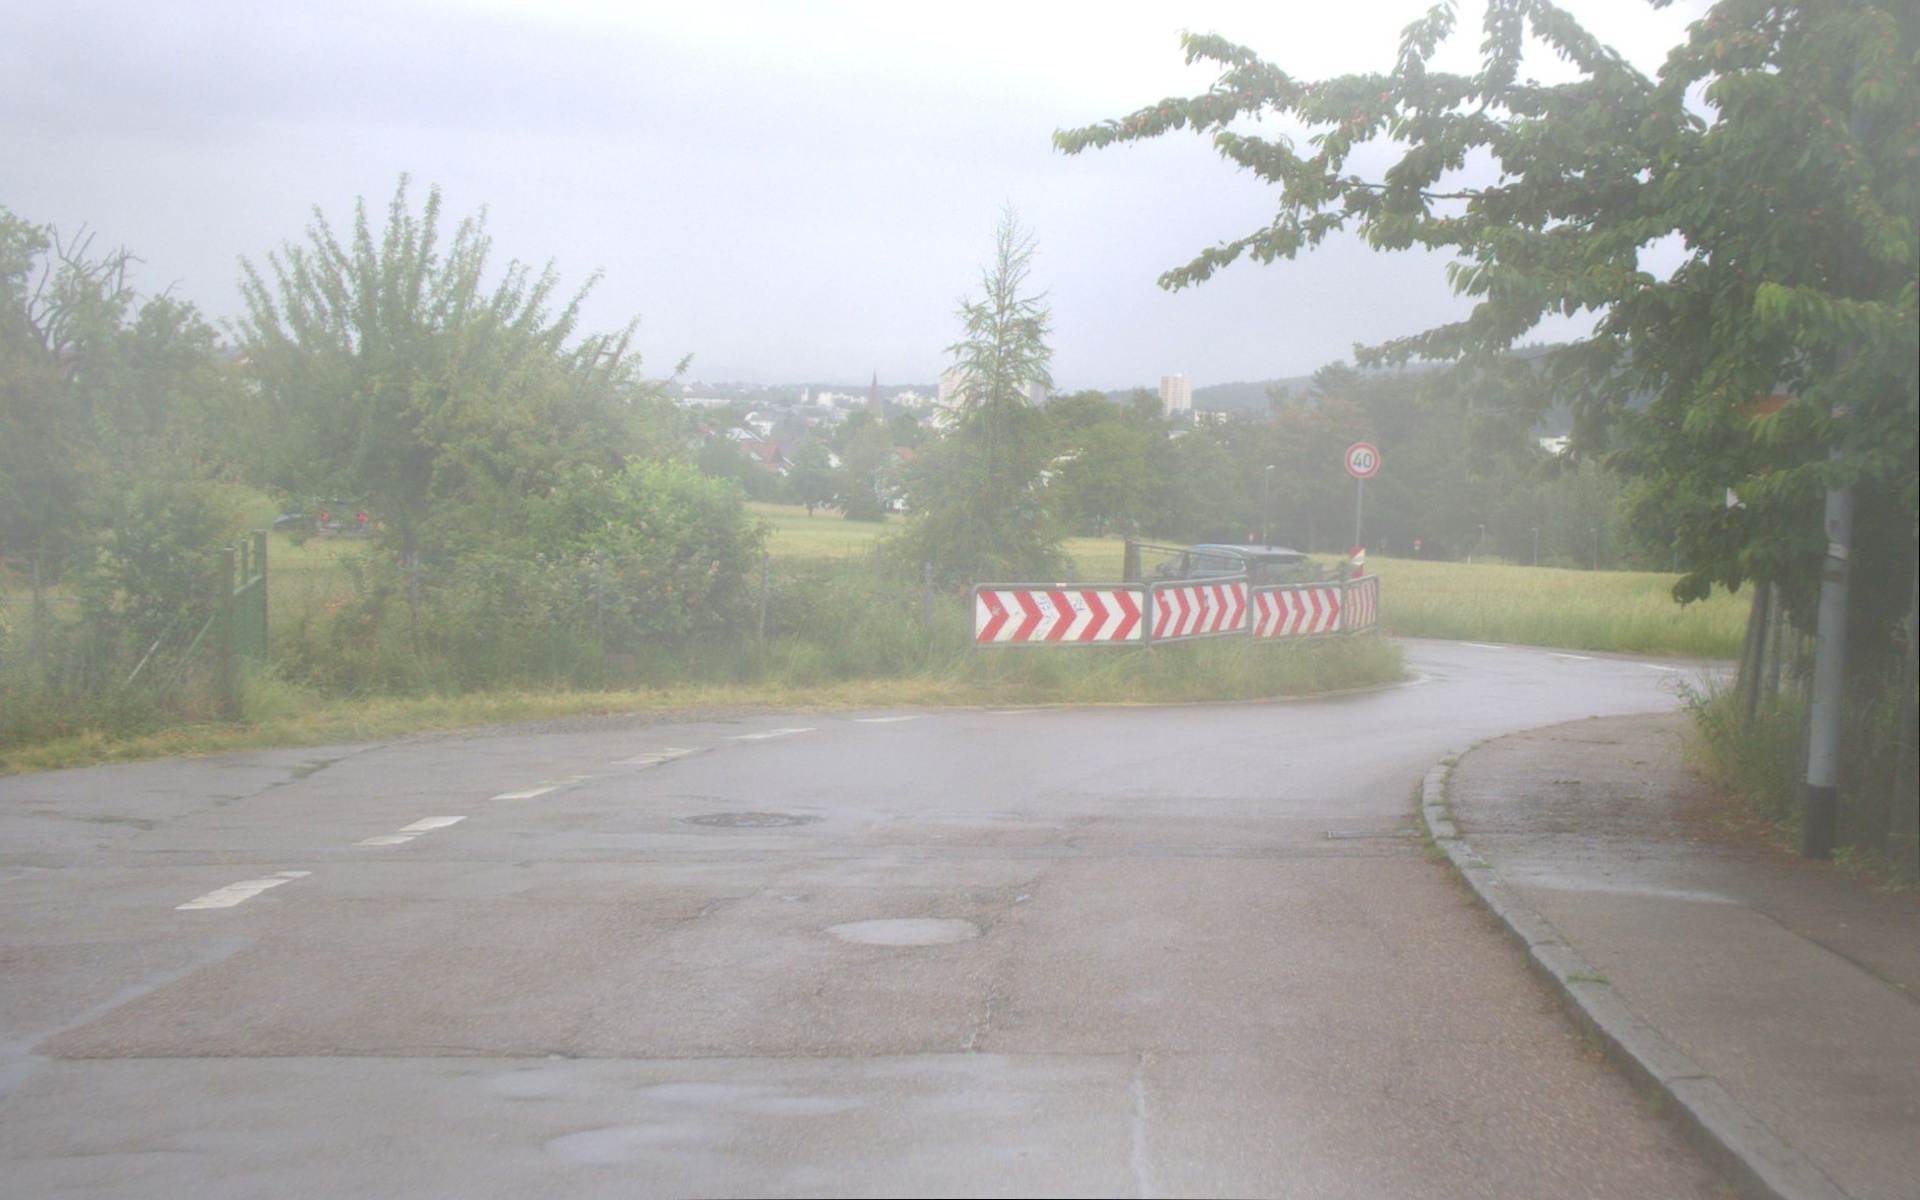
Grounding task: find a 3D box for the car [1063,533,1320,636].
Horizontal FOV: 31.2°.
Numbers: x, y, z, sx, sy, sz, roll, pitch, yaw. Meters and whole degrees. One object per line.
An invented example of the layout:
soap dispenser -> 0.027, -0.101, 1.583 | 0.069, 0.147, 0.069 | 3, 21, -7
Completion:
car -> 3.825, -0.272, 57.229 | 3.997, 1.588, 1.816 | 3, 1, 44
